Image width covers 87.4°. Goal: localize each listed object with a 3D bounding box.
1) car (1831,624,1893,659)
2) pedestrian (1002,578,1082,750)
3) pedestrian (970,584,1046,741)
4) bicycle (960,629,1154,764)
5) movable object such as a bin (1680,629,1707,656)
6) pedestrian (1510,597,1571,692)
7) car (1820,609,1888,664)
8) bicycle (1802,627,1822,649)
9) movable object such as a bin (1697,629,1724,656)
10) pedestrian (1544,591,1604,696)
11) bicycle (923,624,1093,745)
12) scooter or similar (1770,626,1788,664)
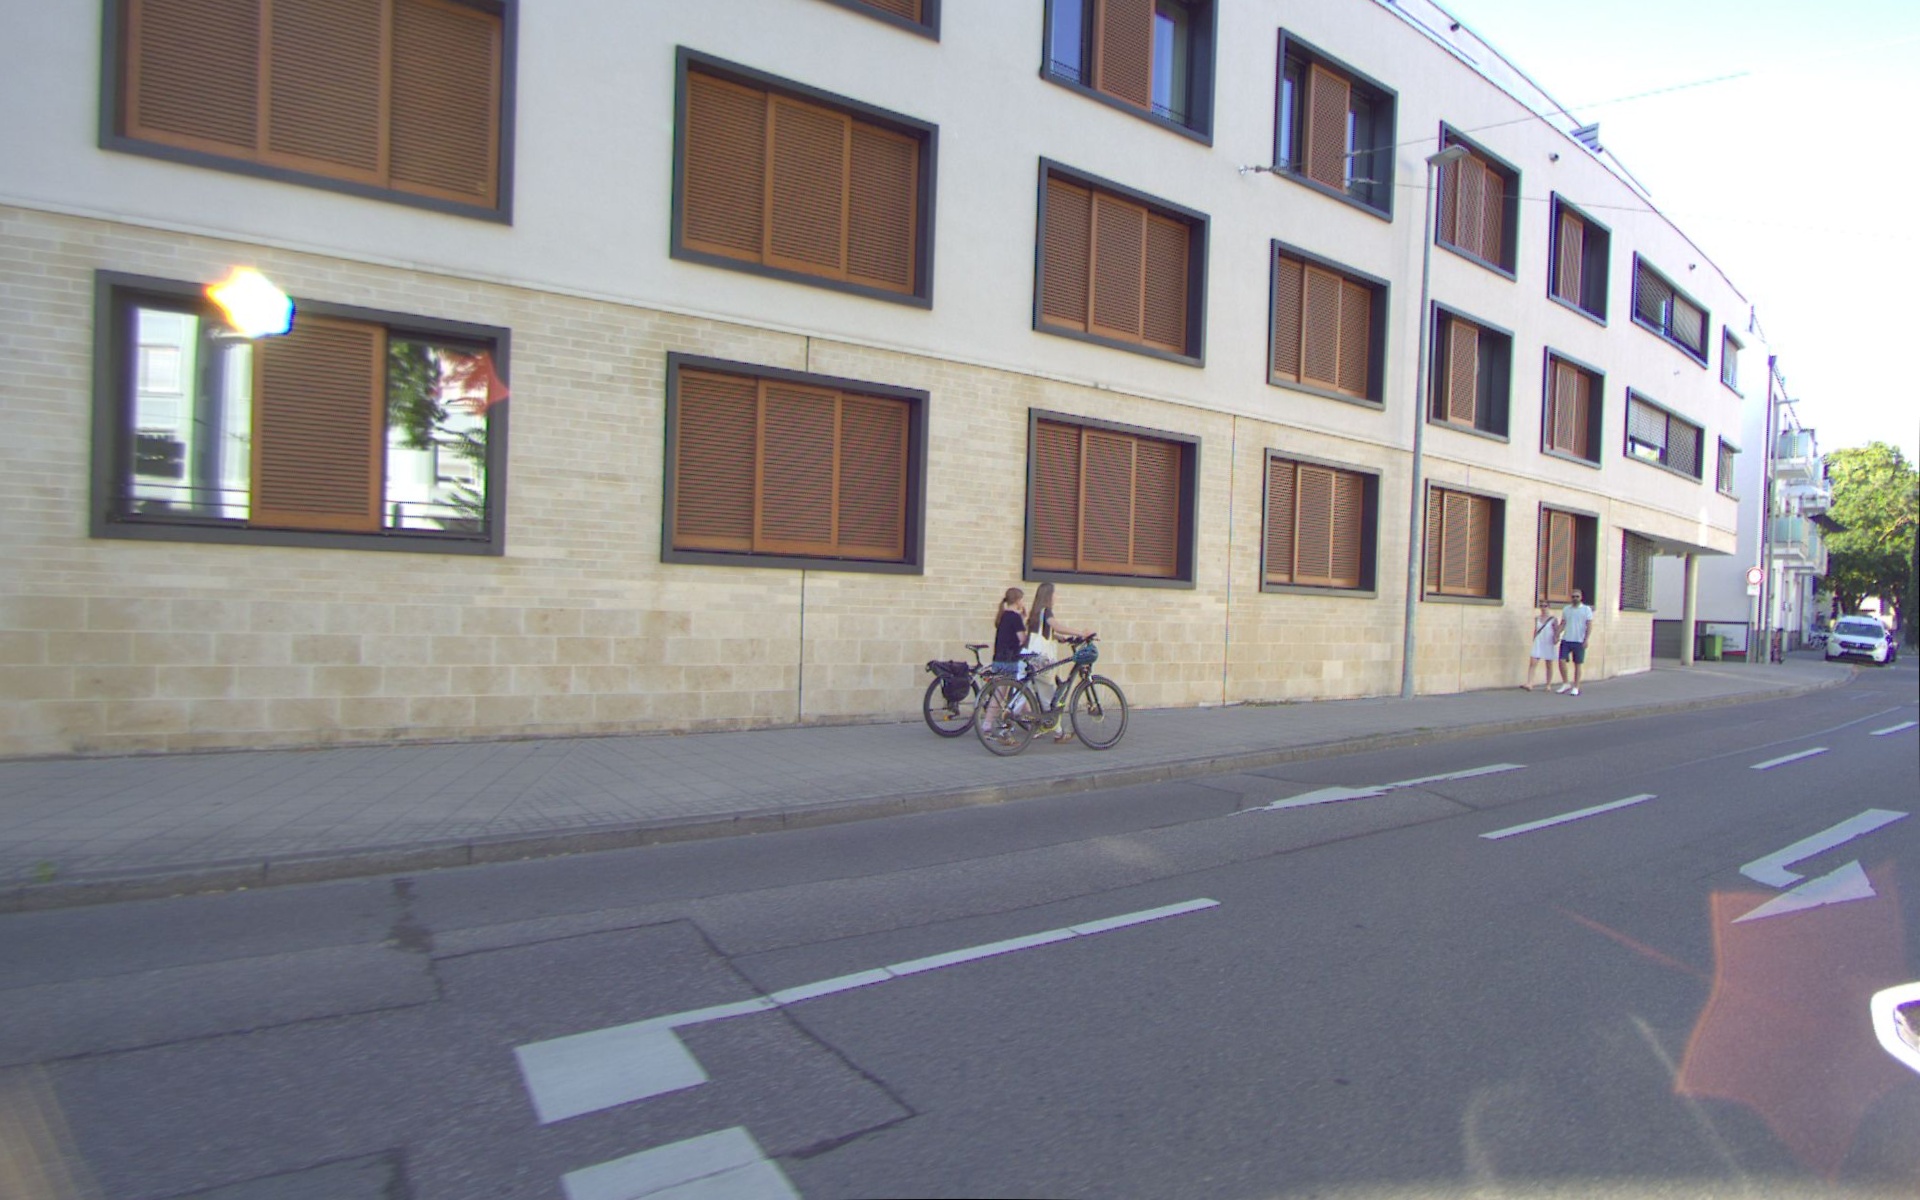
[{"bbox_3d":[38.308,1.744,42.629,3.999,1.290,1.648,2,2,-44],"label":"car"},{"bbox_3d":[0.828,0.627,10.141,0.595,1.669,0.472,1,2,-28],"label":"pedestrian"},{"bbox_3d":[0.500,0.642,10.583,0.595,1.586,0.472,1,3,-28],"label":"pedestrian"},{"bbox_3d":[0.972,0.900,9.795,1.941,1.194,0.438,0,2,-28],"label":"bicycle"},{"bbox_3d":[25.738,1.495,35.270,0.523,0.913,0.547,2,1,-23],"label":"movable object such as a bin"},{"bbox_3d":[11.050,0.842,19.118,0.836,1.737,0.696,2,1,-40],"label":"pedestrian"},{"bbox_3d":[34.691,1.397,39.058,1.790,1.894,4.311,5,2,41],"label":"car"},{"bbox_3d":[45.045,1.988,53.106,0.569,1.124,1.865,3,1,34],"label":"bicycle"},{"bbox_3d":[25.954,1.470,34.744,0.523,0.913,0.547,2,1,-23],"label":"movable object such as a bin"},{"bbox_3d":[11.414,0.798,18.657,0.984,1.873,0.600,2,1,-40],"label":"pedestrian"},{"bbox_3d":[0.529,0.865,10.599,1.813,1.183,0.374,1,2,-26],"label":"bicycle"},{"bbox_3d":[28.494,1.552,34.964,0.221,1.236,1.153,3,2,29],"label":"scooter or similar"}]
